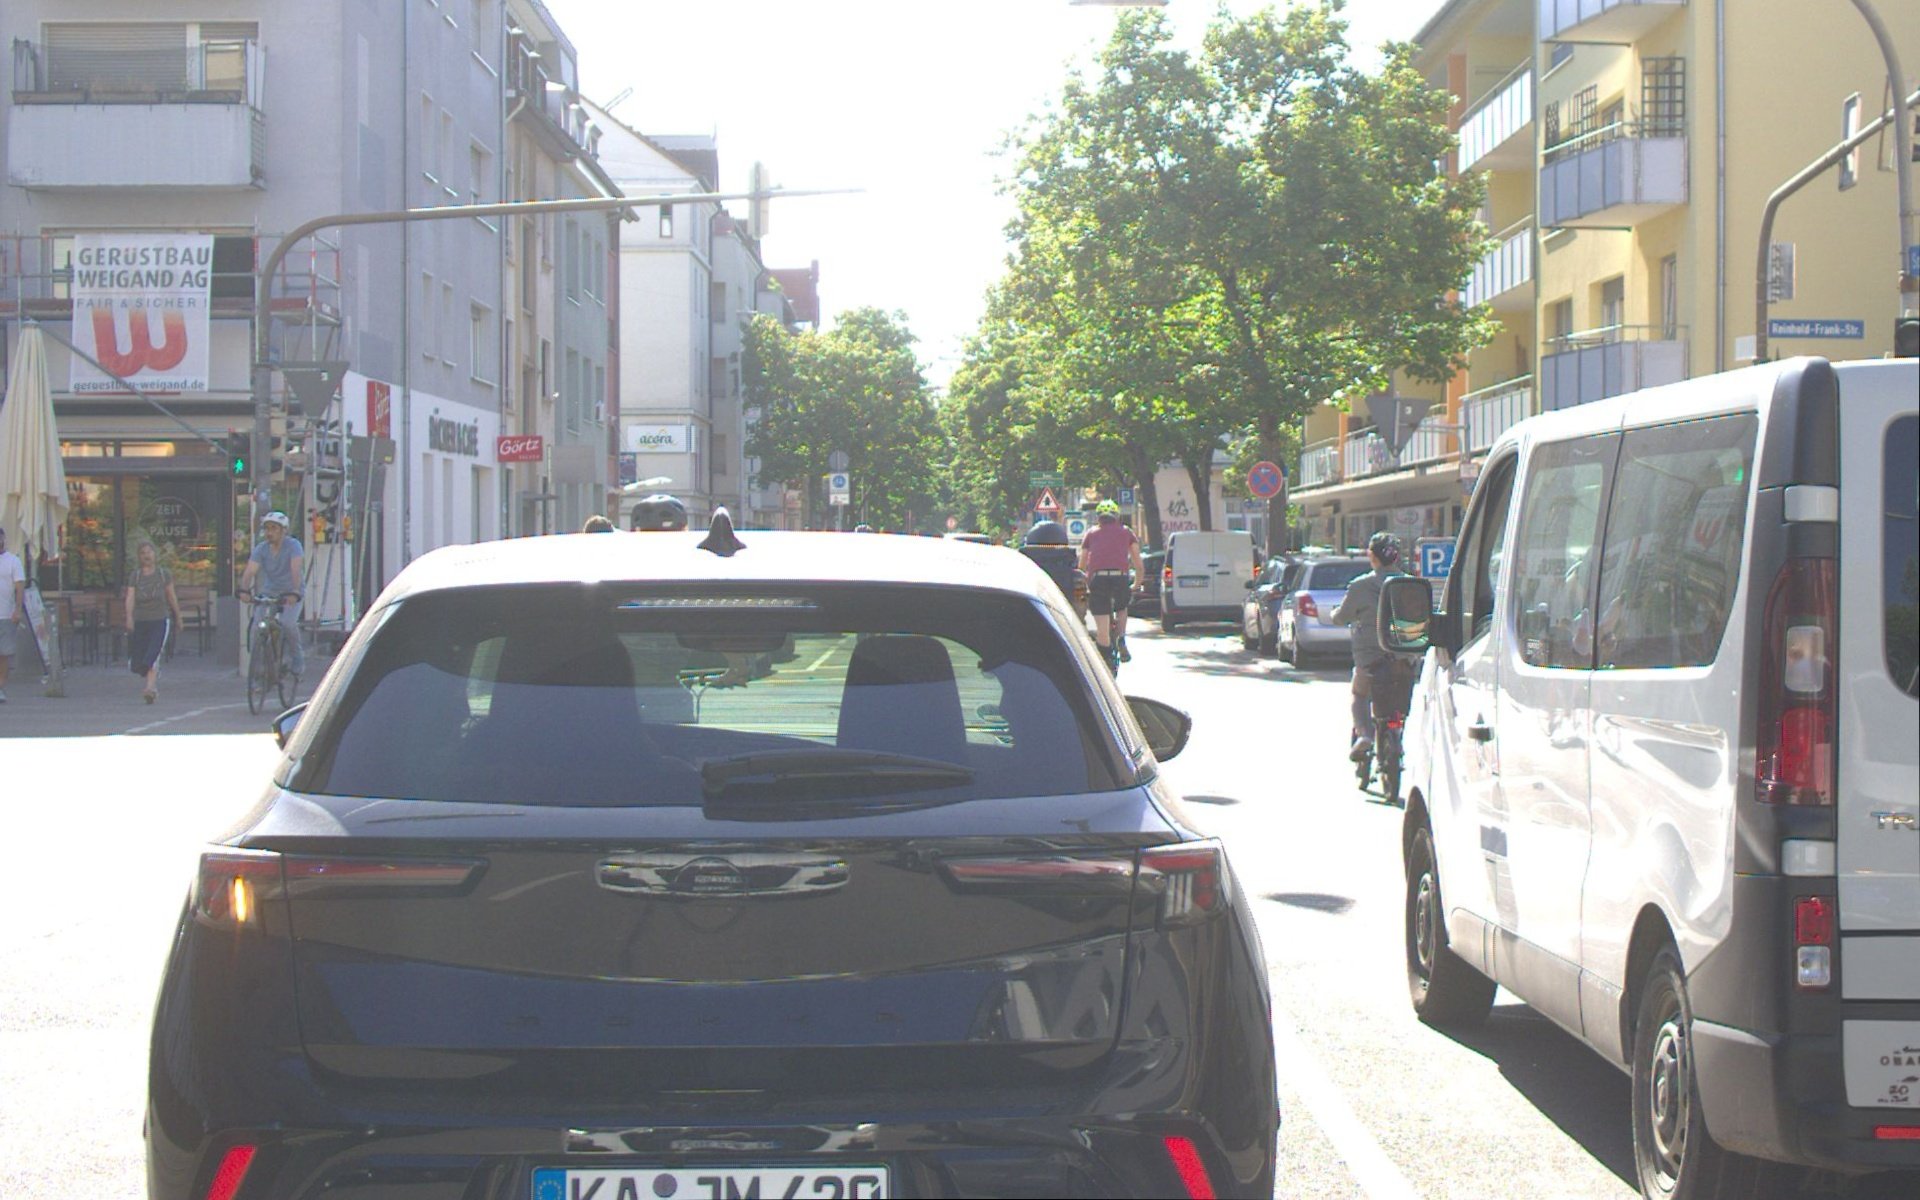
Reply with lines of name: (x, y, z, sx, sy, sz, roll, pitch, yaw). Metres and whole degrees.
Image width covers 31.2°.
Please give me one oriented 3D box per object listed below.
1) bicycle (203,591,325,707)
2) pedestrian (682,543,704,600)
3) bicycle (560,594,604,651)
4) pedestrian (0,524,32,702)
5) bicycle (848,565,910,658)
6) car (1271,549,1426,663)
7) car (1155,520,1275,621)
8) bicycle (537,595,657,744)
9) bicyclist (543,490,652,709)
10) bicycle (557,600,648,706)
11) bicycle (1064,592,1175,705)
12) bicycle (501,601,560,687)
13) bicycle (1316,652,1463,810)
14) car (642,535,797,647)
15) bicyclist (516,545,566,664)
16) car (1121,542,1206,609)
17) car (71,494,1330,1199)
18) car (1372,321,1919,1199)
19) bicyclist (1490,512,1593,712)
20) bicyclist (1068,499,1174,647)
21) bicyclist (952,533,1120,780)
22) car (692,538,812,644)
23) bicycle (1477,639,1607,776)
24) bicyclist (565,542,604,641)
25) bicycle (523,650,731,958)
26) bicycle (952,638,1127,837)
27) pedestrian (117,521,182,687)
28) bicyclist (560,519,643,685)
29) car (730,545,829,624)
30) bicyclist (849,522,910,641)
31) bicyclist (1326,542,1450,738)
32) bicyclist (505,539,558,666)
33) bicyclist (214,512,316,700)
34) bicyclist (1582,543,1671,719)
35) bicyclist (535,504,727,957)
bicycle: (-6.131, 0.417, 30.363, 0.679, 0.949, 1.934, -1, 1, 0)
pedestrian: (-7.402, -0.788, 95.277, 0.577, 1.577, 0.708, 0, 1, -6)
bicycle: (-5.898, 0.348, 53.715, 0.553, 0.831, 2.132, 1, 1, -3)
pedestrian: (-9.289, 0.117, 32.932, 0.573, 1.683, 0.669, 0, 1, 5)
bicycle: (-1.131, 0.146, 48.317, 0.801, 1.251, 2.139, 0, 1, 0)
car: (5.282, 0.056, 47.077, 1.712, 1.478, 3.480, 0, 1, 0)
car: (4.773, -0.587, 64.931, 2.046, 1.840, 4.584, 0, 1, 2)
bicycle: (-2.727, 0.503, 25.969, 0.716, 1.060, 1.872, 0, 1, 0)
bicyclist: (-2.728, -0.009, 25.930, 0.716, 1.614, 0.946, 0, 0, 0)
bicycle: (-3.474, 0.505, 33.529, 0.679, 0.949, 1.934, -1, 1, 0)
bicycle: (1.453, 0.428, 31.762, 0.856, 0.941, 2.307, 2, 1, -1)
bicycle: (-4.760, 0.477, 38.201, 0.542, 0.899, 1.826, 0, 1, -4)
bicycle: (2.620, 0.784, 21.147, 0.691, 0.863, 1.876, 0, 1, 1)
car: (-3.177, -0.149, 46.074, 1.837, 1.429, 4.177, 0, 1, -1)
bicyclist: (-5.379, 0.048, 44.155, 0.542, 1.515, 0.774, 0, 1, 0)
car: (4.594, -0.571, 78.021, 1.712, 1.478, 3.381, 0, 1, 0)
car: (-0.388, 0.607, 6.824, 1.762, 1.553, 4.000, 0, 1, -1)
car: (2.430, 0.431, 9.089, 1.968, 1.933, 5.056, 2, 1, -1)
bicyclist: (4.063, 0.076, 24.056, 0.588, 1.378, 0.823, 0, 1, 1)
bicyclist: (1.476, -0.257, 31.725, 0.856, 1.310, 1.210, 2, 1, -1)
bicyclist: (0.412, 0.297, 19.347, 0.856, 1.310, 1.210, 2, 1, -1)
car: (-3.188, -0.145, 53.299, 1.592, 1.560, 4.089, -1, 0, 0)
bicycle: (4.068, 0.737, 24.132, 0.620, 0.863, 1.876, 0, 1, 1)
bicyclist: (-5.889, -0.136, 53.901, 0.553, 1.543, 0.814, 1, 1, -3)
bicycle: (-1.251, 0.742, 13.195, 0.632, 1.037, 1.795, -1, 1, -1)
bicycle: (0.410, 0.731, 19.093, 0.856, 0.941, 2.307, 2, 1, -1)
pedestrian: (-7.744, 0.032, 32.861, 0.531, 1.576, 0.563, 0, 1, -6)
bicyclist: (-3.475, 0.012, 33.413, 0.679, 1.571, 0.899, -1, 1, 0)
car: (-3.448, -0.327, 66.027, 1.804, 1.408, 4.426, -2, 1, -2)
bicyclist: (-1.129, -0.267, 48.290, 0.801, 1.644, 1.125, 0, 1, 1)
bicyclist: (2.625, 0.236, 21.140, 0.692, 1.189, 0.595, 0, 1, 1)
bicyclist: (-4.750, 0.021, 38.125, 0.542, 1.386, 0.788, 0, 1, -4)
bicyclist: (-6.148, 0.041, 30.445, 0.679, 1.625, 0.899, -1, 1, 0)
bicyclist: (5.304, 0.238, 27.385, 0.547, 1.378, 0.823, 0, 1, 1)
bicyclist: (-1.246, 0.471, 13.190, 0.632, 1.663, 1.050, -1, 1, -1)
